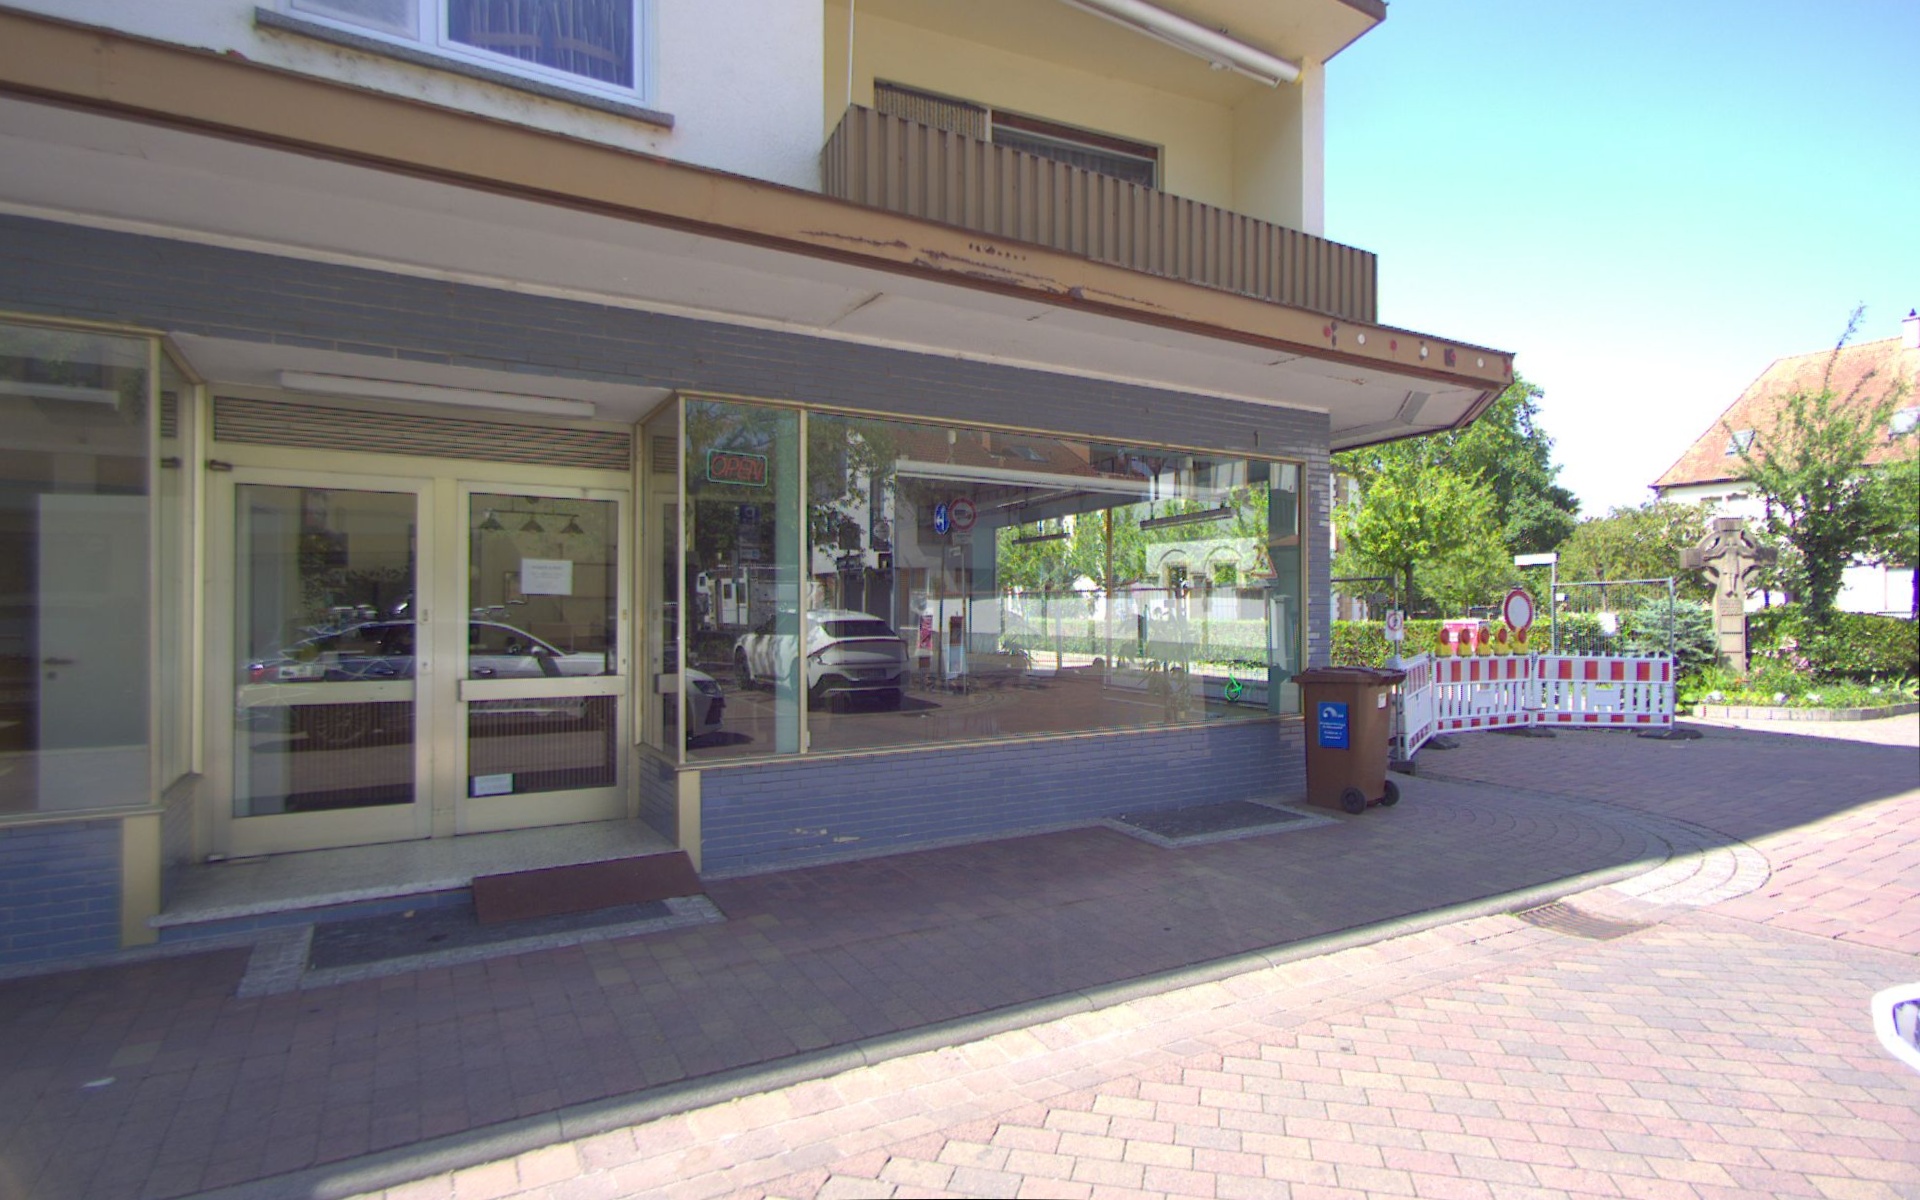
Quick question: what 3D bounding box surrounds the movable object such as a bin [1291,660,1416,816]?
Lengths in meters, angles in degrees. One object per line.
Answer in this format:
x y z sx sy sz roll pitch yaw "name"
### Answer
3.027 1.028 7.739 0.657 1.084 0.650 1 0 -36 "movable object such as a bin"
